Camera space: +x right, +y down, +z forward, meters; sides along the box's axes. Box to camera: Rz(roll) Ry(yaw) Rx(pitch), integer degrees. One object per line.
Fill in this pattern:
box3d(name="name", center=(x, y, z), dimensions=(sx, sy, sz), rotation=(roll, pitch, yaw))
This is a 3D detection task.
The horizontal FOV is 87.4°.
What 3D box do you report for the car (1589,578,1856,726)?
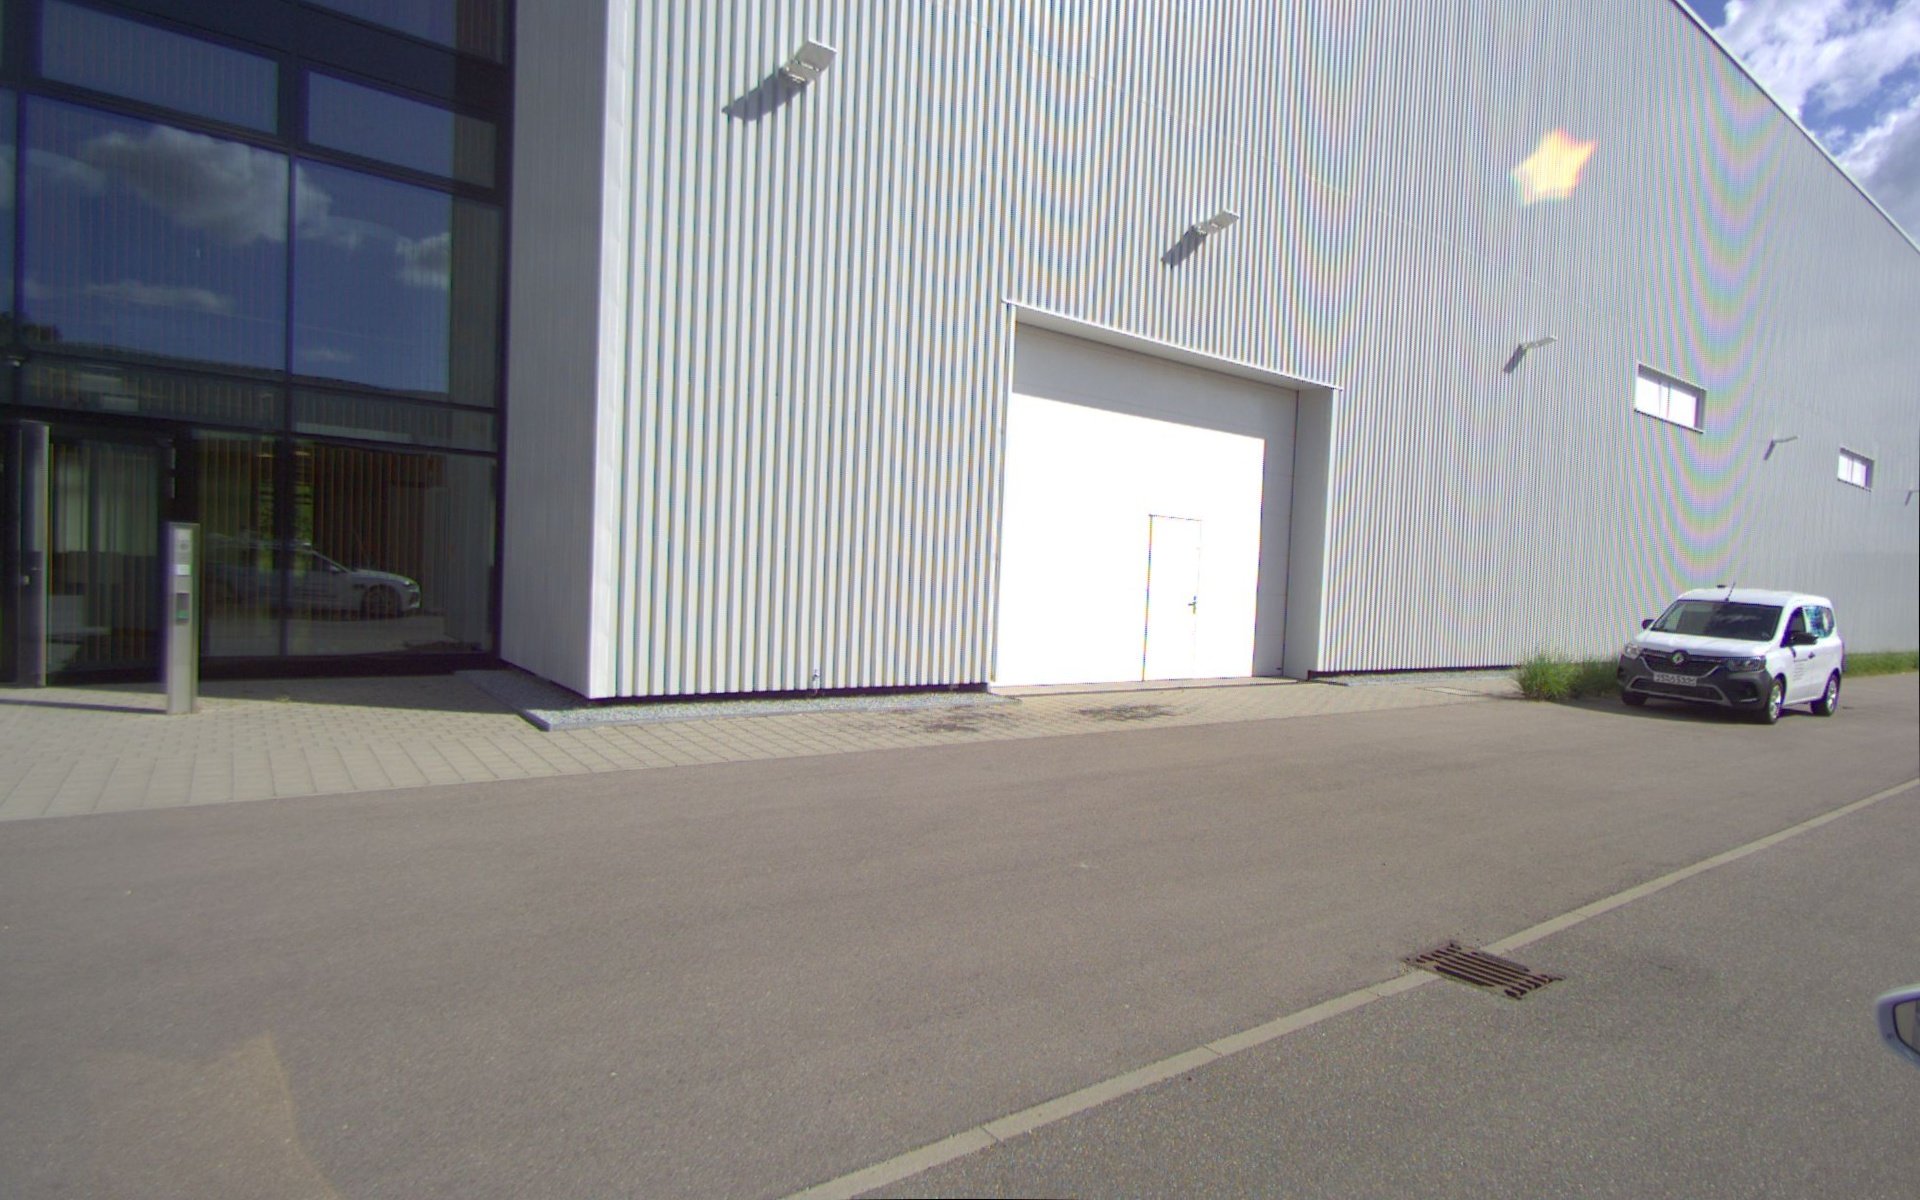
box3d(name="car", center=(11.459, 0.695, 14.997), dimensions=(4.555, 1.814, 1.914), rotation=(1, 3, -37))
